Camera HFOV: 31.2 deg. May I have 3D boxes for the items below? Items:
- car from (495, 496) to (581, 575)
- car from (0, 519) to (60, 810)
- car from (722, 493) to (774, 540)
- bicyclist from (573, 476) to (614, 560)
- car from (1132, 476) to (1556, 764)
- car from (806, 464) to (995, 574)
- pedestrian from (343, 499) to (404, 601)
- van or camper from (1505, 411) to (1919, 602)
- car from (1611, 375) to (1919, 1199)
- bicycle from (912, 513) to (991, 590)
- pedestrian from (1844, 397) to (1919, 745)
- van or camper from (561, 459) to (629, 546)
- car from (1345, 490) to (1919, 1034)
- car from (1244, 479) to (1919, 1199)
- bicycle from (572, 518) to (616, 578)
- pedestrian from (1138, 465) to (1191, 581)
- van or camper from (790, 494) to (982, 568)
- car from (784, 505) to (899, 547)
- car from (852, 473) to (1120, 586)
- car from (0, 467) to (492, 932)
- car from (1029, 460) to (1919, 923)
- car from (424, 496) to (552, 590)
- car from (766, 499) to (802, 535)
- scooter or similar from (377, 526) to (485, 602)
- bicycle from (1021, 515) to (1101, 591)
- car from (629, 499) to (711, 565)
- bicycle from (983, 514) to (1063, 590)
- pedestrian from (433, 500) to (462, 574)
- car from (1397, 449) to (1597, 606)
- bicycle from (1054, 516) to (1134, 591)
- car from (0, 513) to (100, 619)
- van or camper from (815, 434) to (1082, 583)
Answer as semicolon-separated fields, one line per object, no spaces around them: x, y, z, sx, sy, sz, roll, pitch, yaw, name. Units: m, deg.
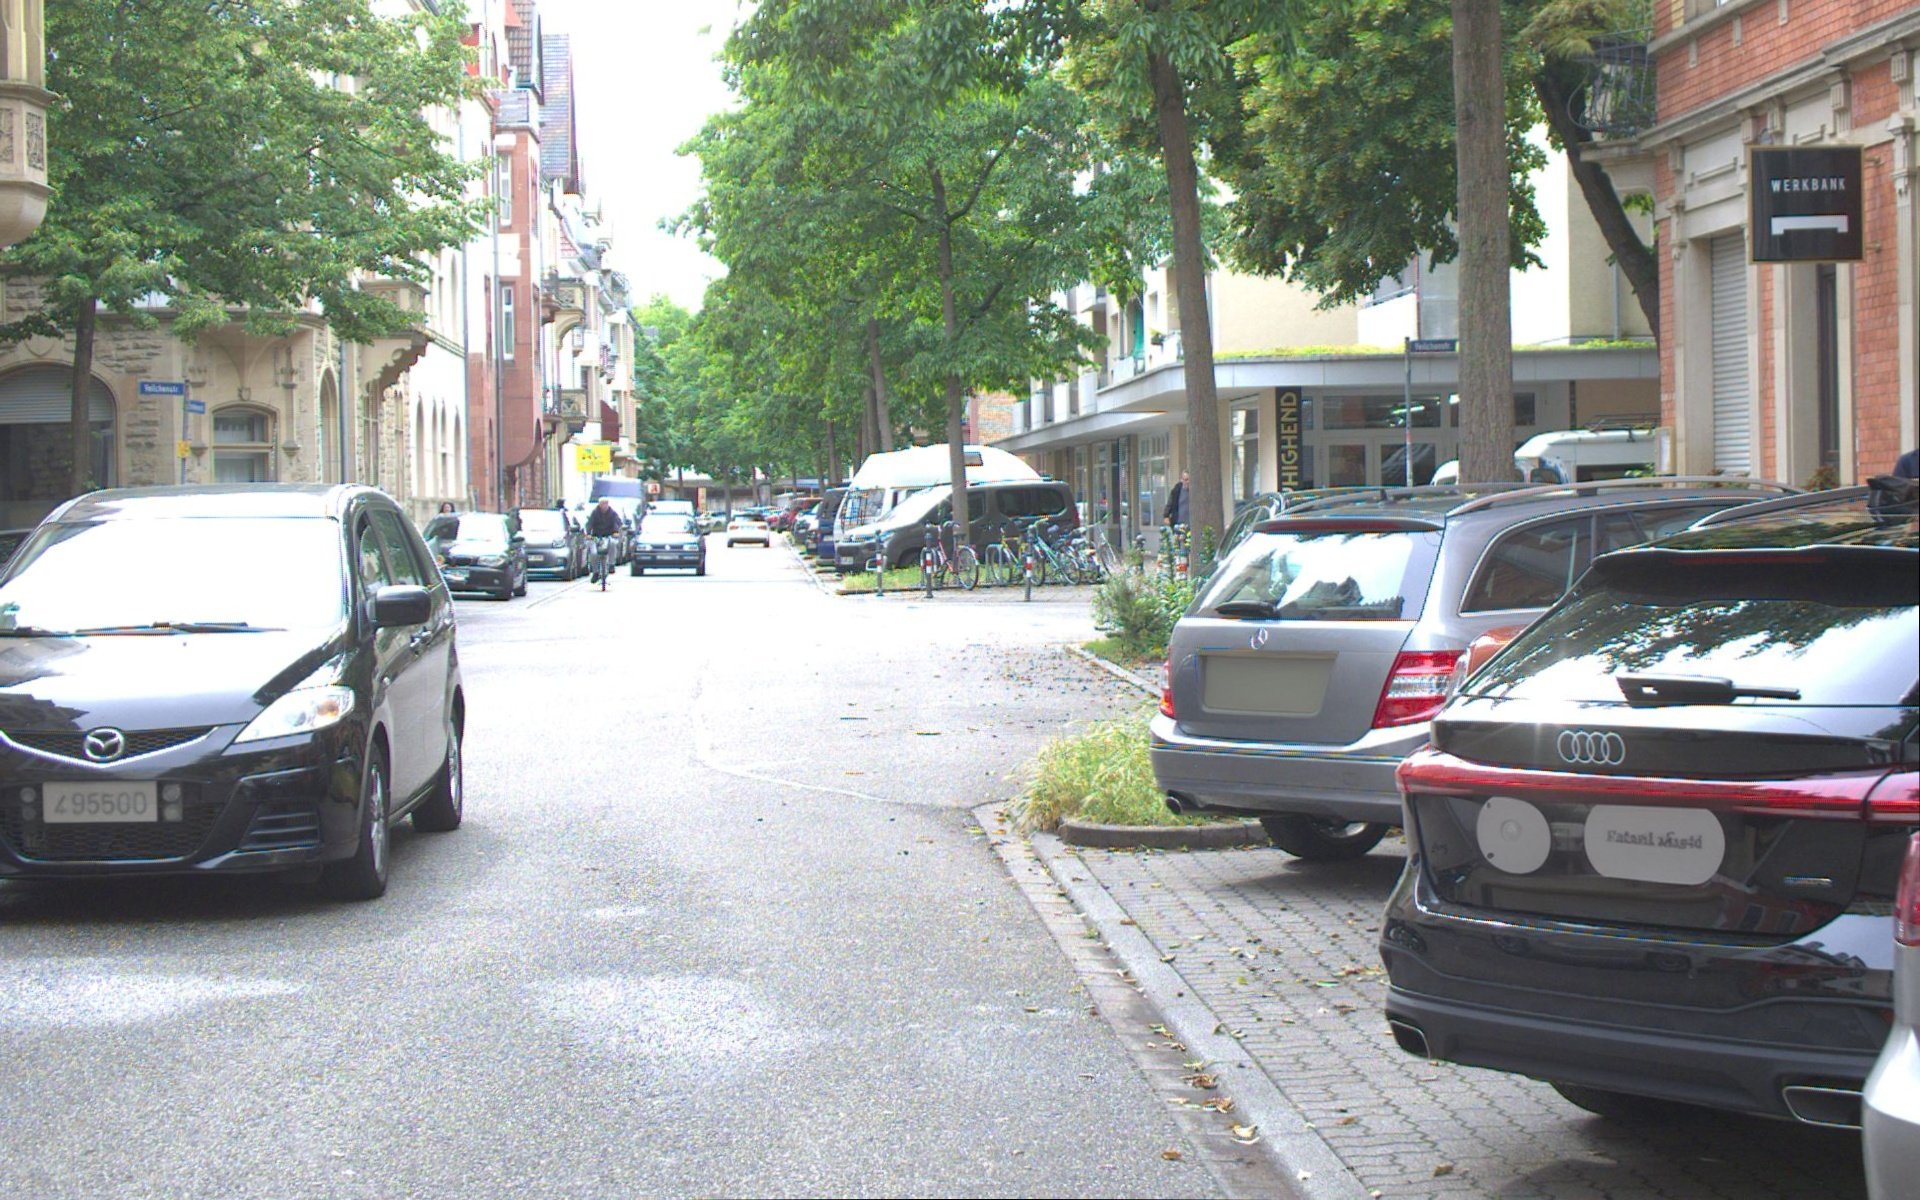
-8.842;-1.361;72.211;1.646;1.565;2.957;1;2;-4;car
-5.543;0.338;16.731;1.589;1.429;3.811;1;2;-4;car
-8.479;-3.350;137.963;1.993;1.788;4.000;1;0;-2;car
-6.811;-1.531;63.854;0.647;1.533;0.677;-2;1;-1;bicyclist
2.203;0.042;20.900;1.764;1.481;4.480;-3;2;-3;car
-1.203;-1.724;72.184;2.063;2.189;4.393;-1;2;28;car
-9.163;-0.786;53.716;0.631;1.588;0.668;1;2;38;pedestrian
10.724;-1.342;48.582;5.771;2.485;2.136;-1;5;4;van or camper
2.851;0.482;4.727;3.457;1.557;1.787;-1;2;-25;car
-0.142;-0.768;53.595;0.548;1.169;1.729;-2;2;-25;bicycle
4.901;-0.160;17.432;0.597;1.727;0.664;-1;2;-5;pedestrian
-12.481;-3.371;117.872;2.008;2.642;5.318;1;5;-3;van or camper
3.251;0.373;11.143;3.872;1.430;1.746;-2;3;-38;car
2.619;0.452;7.629;3.682;1.461;1.705;-3;2;-34;car
-6.799;-0.968;63.883;0.634;1.090;1.799;-1;1;-1;bicycle
3.173;-1.201;53.364;0.779;1.790;0.509;0;2;-1;pedestrian
-2.092;-1.970;97.682;5.006;1.863;2.127;-3;2;-31;van or camper
-4.527;-2.848;131.431;4.011;1.554;1.884;-2;2;-34;car
0.464;-1.261;61.099;4.332;1.847;1.911;-3;2;-28;car
-3.065;0.284;14.212;1.809;1.624;4.208;-1;2;-2;car
2.542;0.238;13.535;4.433;1.422;1.758;-5;2;-40;car
-7.850;-0.937;57.451;1.709;1.489;4.000;1;0;-2;car
-10.324;-4.873;201.671;1.993;2.007;4.001;2;1;-4;car
-8.039;-0.549;52.255;1.469;1.100;0.676;2;2;9;scooter or similar
1.601;-0.758;54.678;0.548;1.169;1.729;-2;2;-25;bicycle
-6.578;-1.526;78.238;1.708;1.408;3.853;-1;1;-3;car
0.985;-0.762;54.352;0.548;1.169;1.729;-2;2;-25;bicycle
-10.580;-1.299;70.938;0.515;1.513;0.547;-1;2;-3;pedestrian
6.626;-0.921;42.792;1.770;1.812;4.001;-2;2;-1;car
2.142;-0.756;55.100;0.548;1.169;1.698;-2;2;-25;bicycle
-14.764;-0.472;50.828;3.569;1.455;1.649;-2;3;6;car
-0.189;-1.705;63.365;4.583;2.587;1.911;-3;2;-35;van or camper
